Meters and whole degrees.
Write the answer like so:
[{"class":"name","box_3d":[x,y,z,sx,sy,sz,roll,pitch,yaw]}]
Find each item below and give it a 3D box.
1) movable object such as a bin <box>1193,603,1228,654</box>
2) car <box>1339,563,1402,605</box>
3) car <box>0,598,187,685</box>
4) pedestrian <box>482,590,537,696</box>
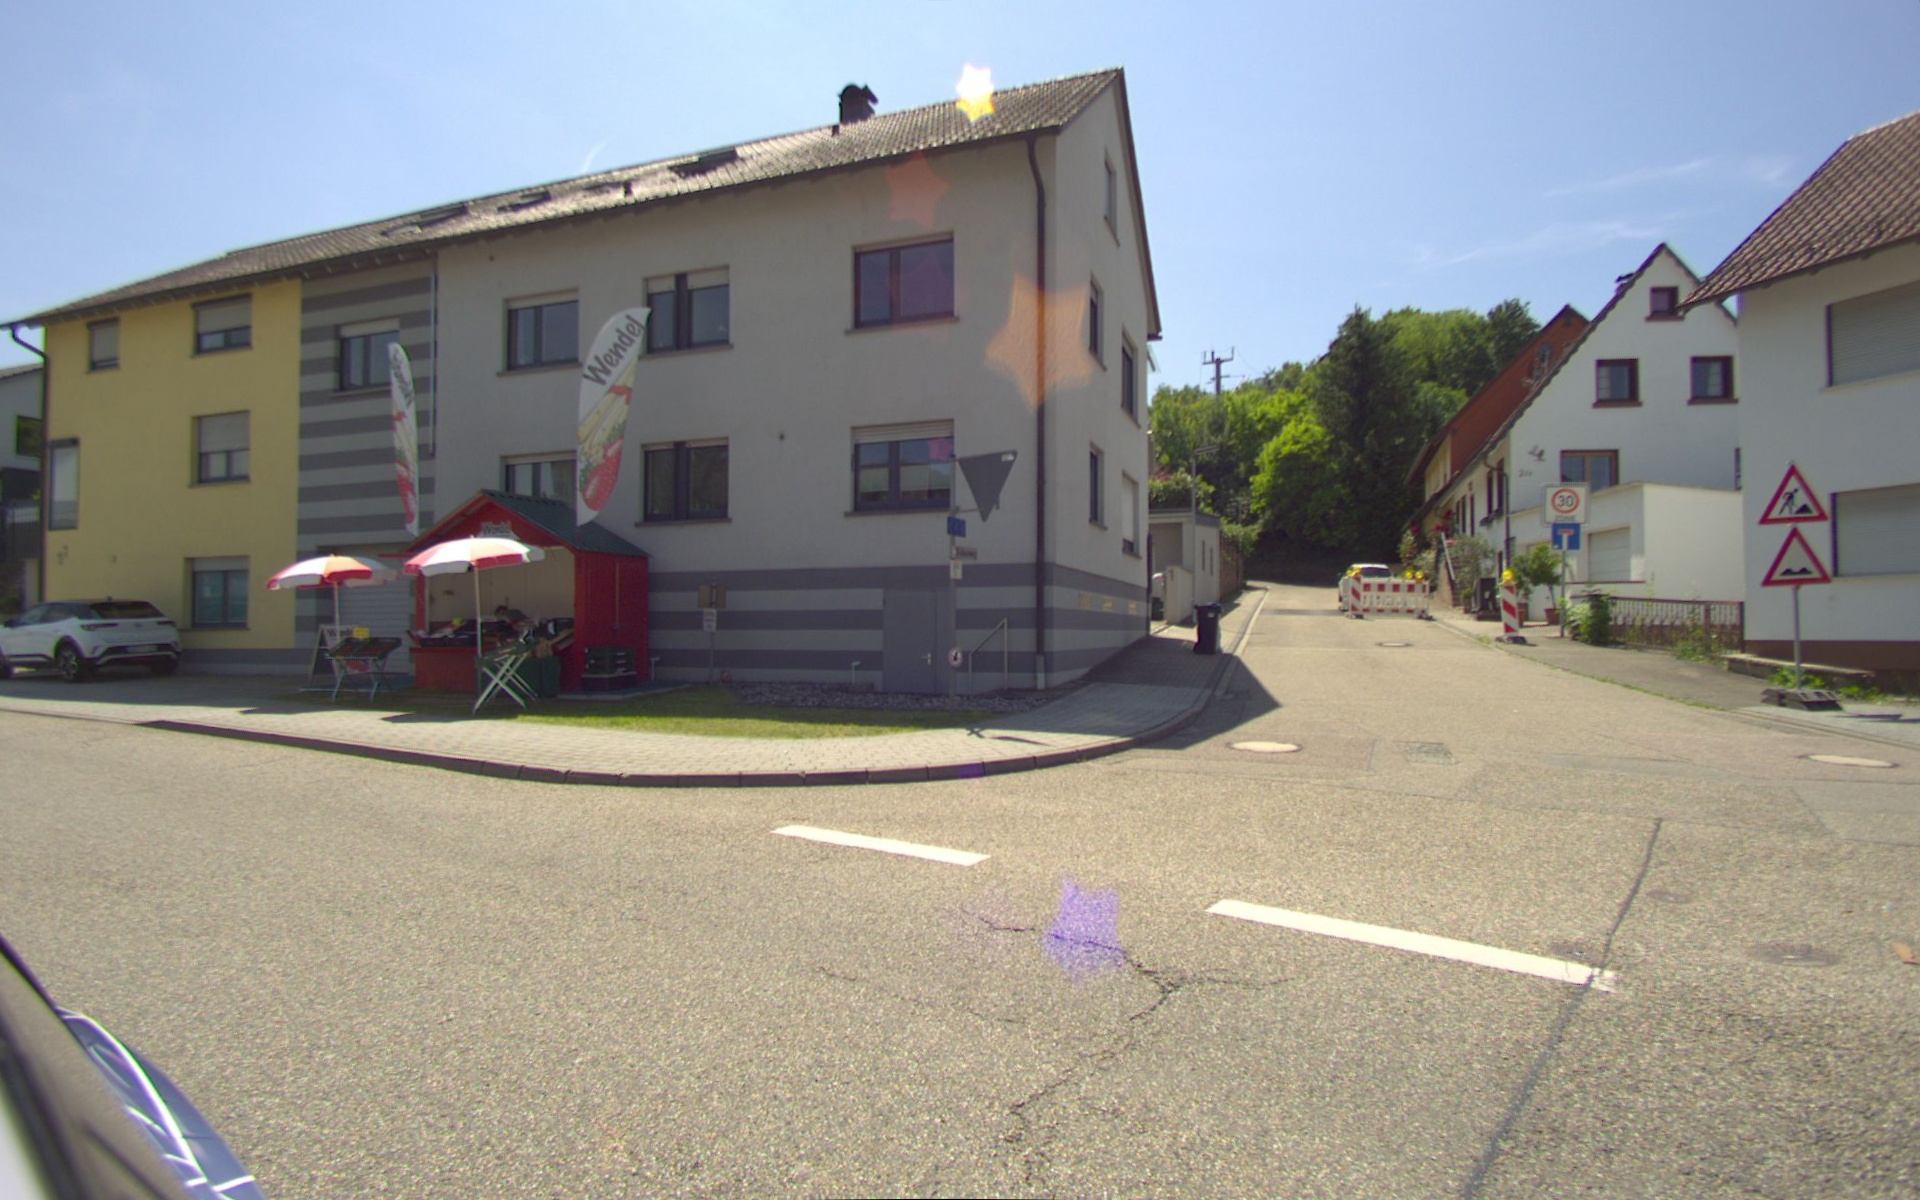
[{"class":"movable object such as a bin","box_3d":[4.708,0.529,19.035,0.596,0.941,0.596,0,-2,19]},{"class":"car","box_3d":[15.174,-0.638,37.606,1.895,1.431,4.356,-1,2,19]},{"class":"car","box_3d":[-17.422,0.769,19.819,4.159,1.564,1.723,0,-1,21]},{"class":"pedestrian","box_3d":[-7.016,0.661,15.749,0.603,1.600,0.810,1,-2,-37]}]
